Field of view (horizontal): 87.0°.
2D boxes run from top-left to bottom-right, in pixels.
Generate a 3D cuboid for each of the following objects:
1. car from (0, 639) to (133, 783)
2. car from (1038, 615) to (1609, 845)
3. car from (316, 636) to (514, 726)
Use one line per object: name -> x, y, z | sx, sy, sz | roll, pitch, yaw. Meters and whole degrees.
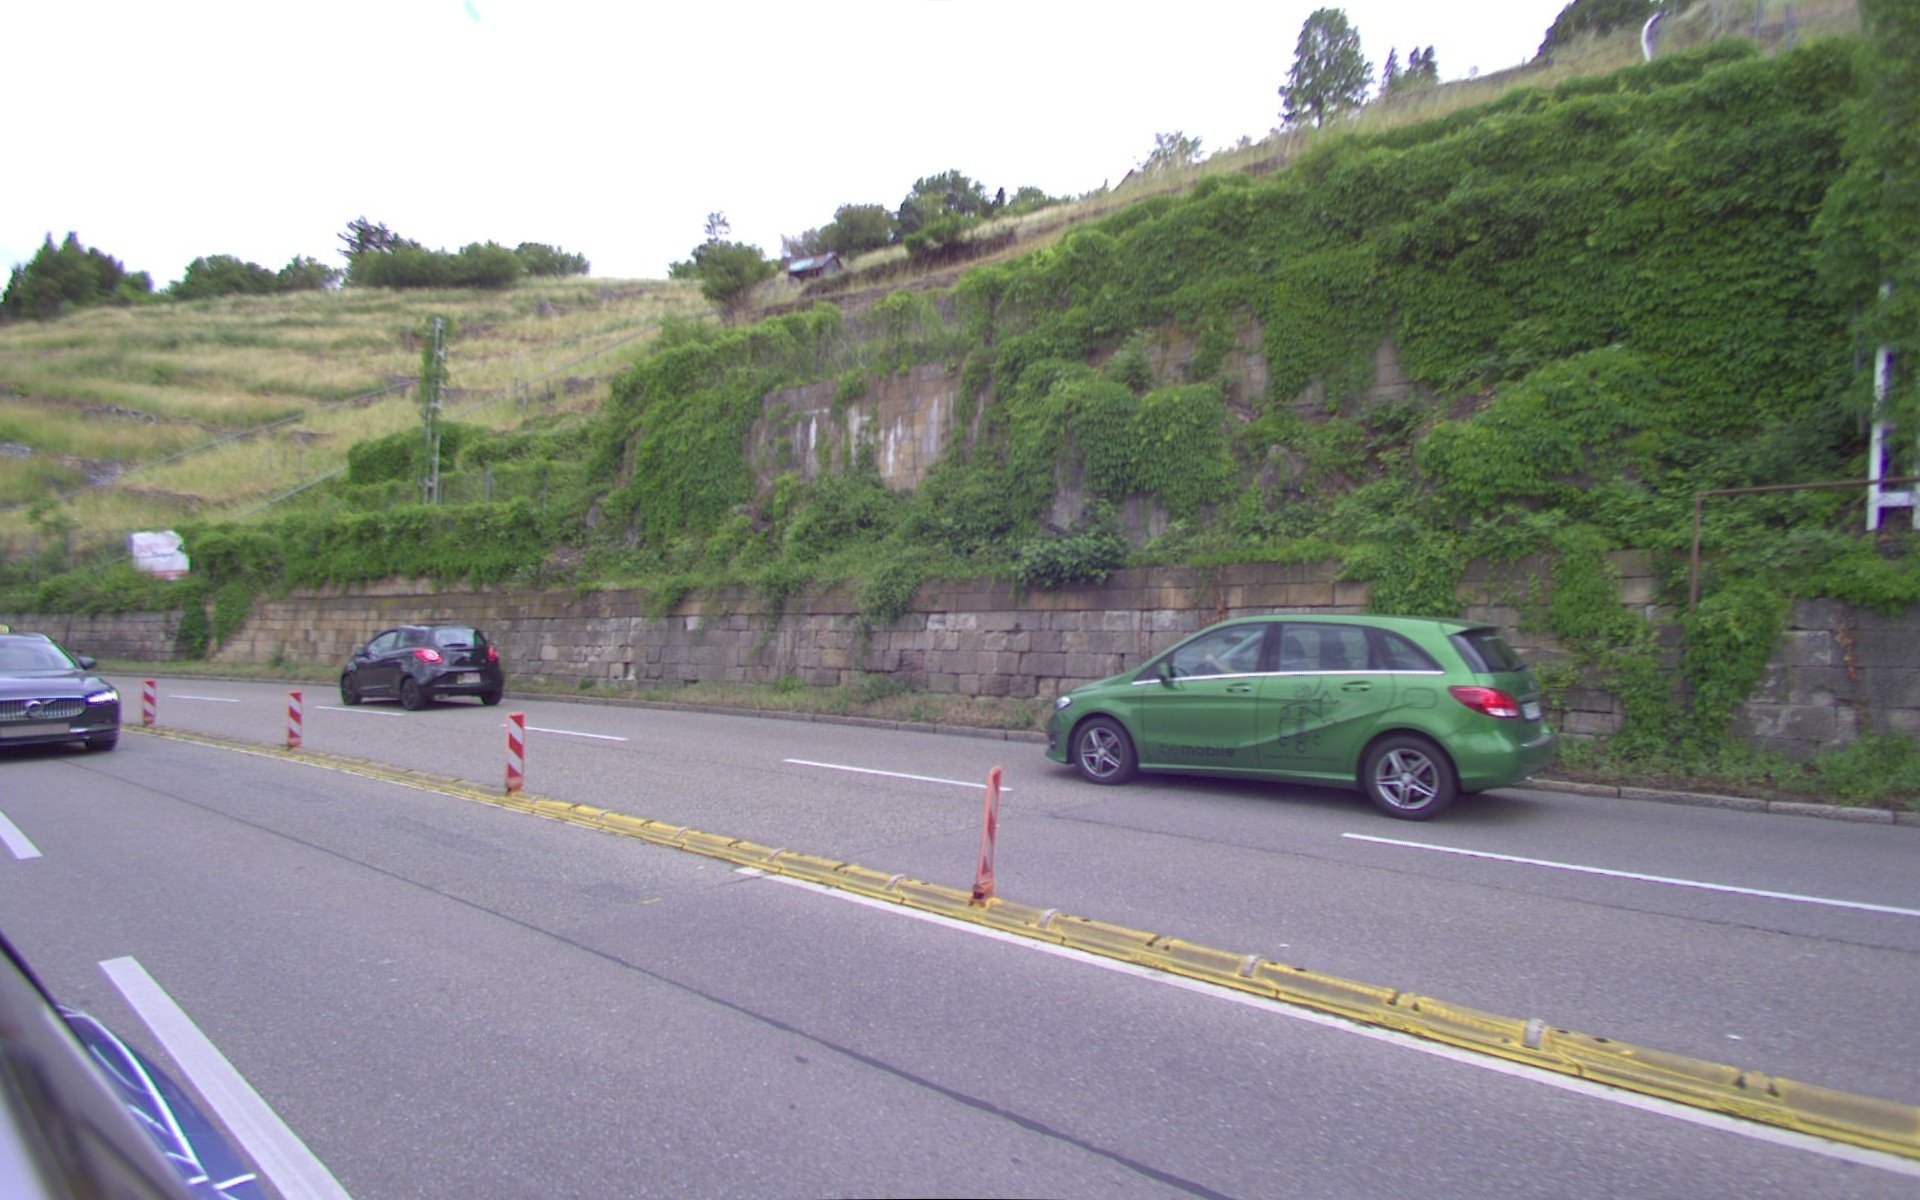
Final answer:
car -> -11.861, 1.270, 12.236 | 4.132, 1.505, 1.879 | -2, -2, 36
car -> 2.978, 0.937, 8.849 | 4.330, 1.527, 1.832 | -2, -2, 40
car -> -10.008, 1.402, 18.503 | 3.993, 1.453, 1.690 | -2, -2, 37
